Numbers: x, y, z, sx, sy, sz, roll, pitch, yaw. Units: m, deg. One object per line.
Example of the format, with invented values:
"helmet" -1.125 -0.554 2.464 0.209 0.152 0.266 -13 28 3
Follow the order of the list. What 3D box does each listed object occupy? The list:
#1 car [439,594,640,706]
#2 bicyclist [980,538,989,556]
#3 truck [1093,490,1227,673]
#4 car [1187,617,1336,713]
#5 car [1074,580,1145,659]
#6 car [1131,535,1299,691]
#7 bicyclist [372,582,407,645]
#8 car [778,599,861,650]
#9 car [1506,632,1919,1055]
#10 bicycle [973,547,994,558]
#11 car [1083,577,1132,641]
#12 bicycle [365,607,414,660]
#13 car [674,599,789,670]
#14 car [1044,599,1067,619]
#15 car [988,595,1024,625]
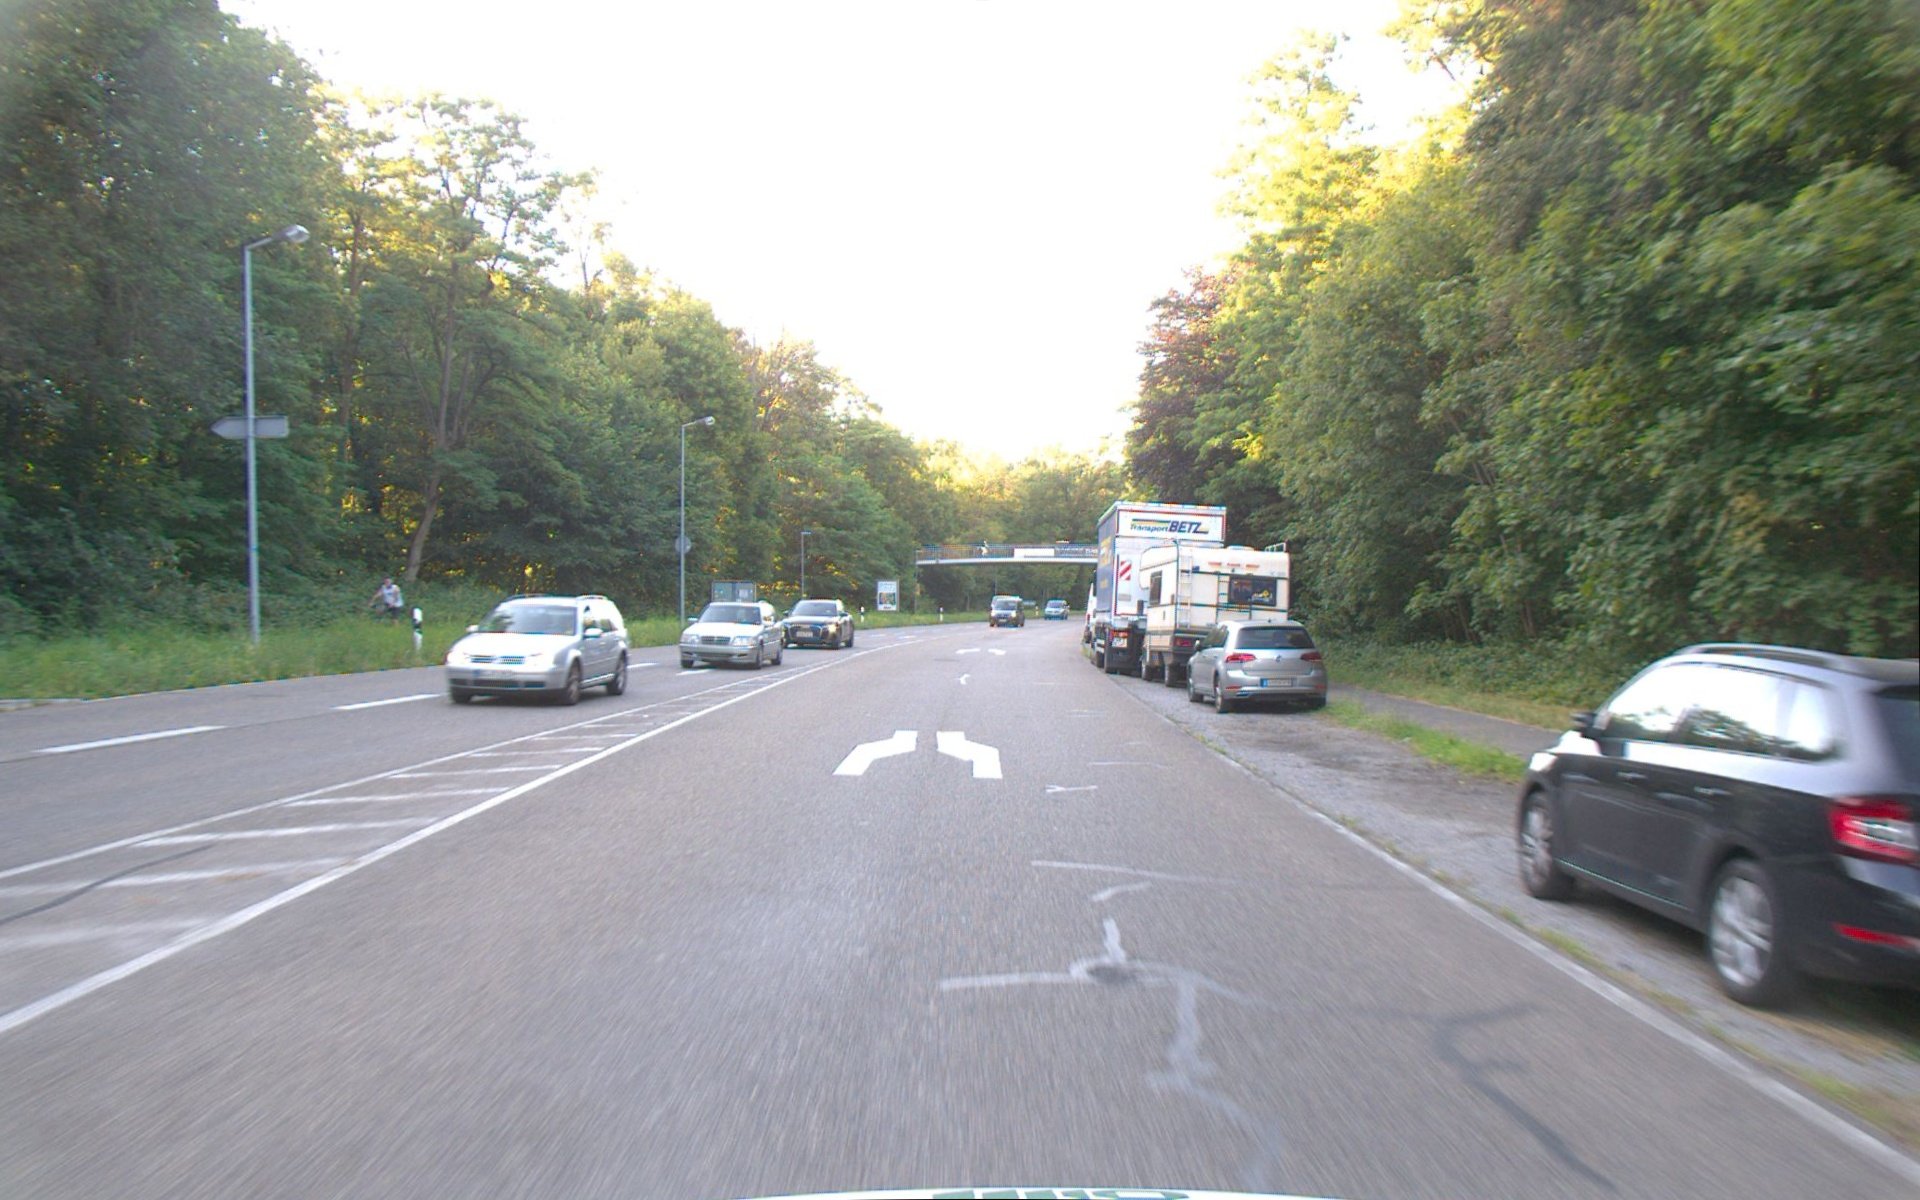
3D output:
"car" -5.943 0.654 23.869 1.680 1.471 4.174 0 0 2
"bicyclist" 2.218 -4.750 149.162 0.650 1.609 0.548 1 0 10
"truck" 4.921 -0.432 42.391 2.602 4.098 9.725 1 0 2
"car" 4.913 1.017 27.432 1.664 1.430 4.075 0 0 -1
"car" 4.599 0.577 51.442 1.952 2.227 4.930 3 0 3
"car" 5.158 0.255 34.392 2.360 2.908 5.930 1 0 -2
"bicyclist" -14.059 0.326 40.782 0.608 1.537 0.846 0 1 -6
"car" -4.321 0.720 51.474 1.852 1.465 4.772 2 0 4
"car" 4.058 0.943 7.847 1.629 1.430 3.942 3 0 1
"bicycle" 2.138 -4.260 149.169 1.805 0.965 0.551 2 0 10
"car" 6.430 0.380 72.451 1.923 2.555 6.018 3 0 5
"bicycle" -14.059 0.806 40.804 0.617 1.239 2.259 0 0 -5
"car" -4.935 0.709 36.247 1.684 1.422 4.376 1 0 3
"car" 8.957 0.829 154.495 1.804 1.766 4.003 2 0 7
"car" 3.012 0.657 106.598 1.804 1.831 4.751 2 0 7
